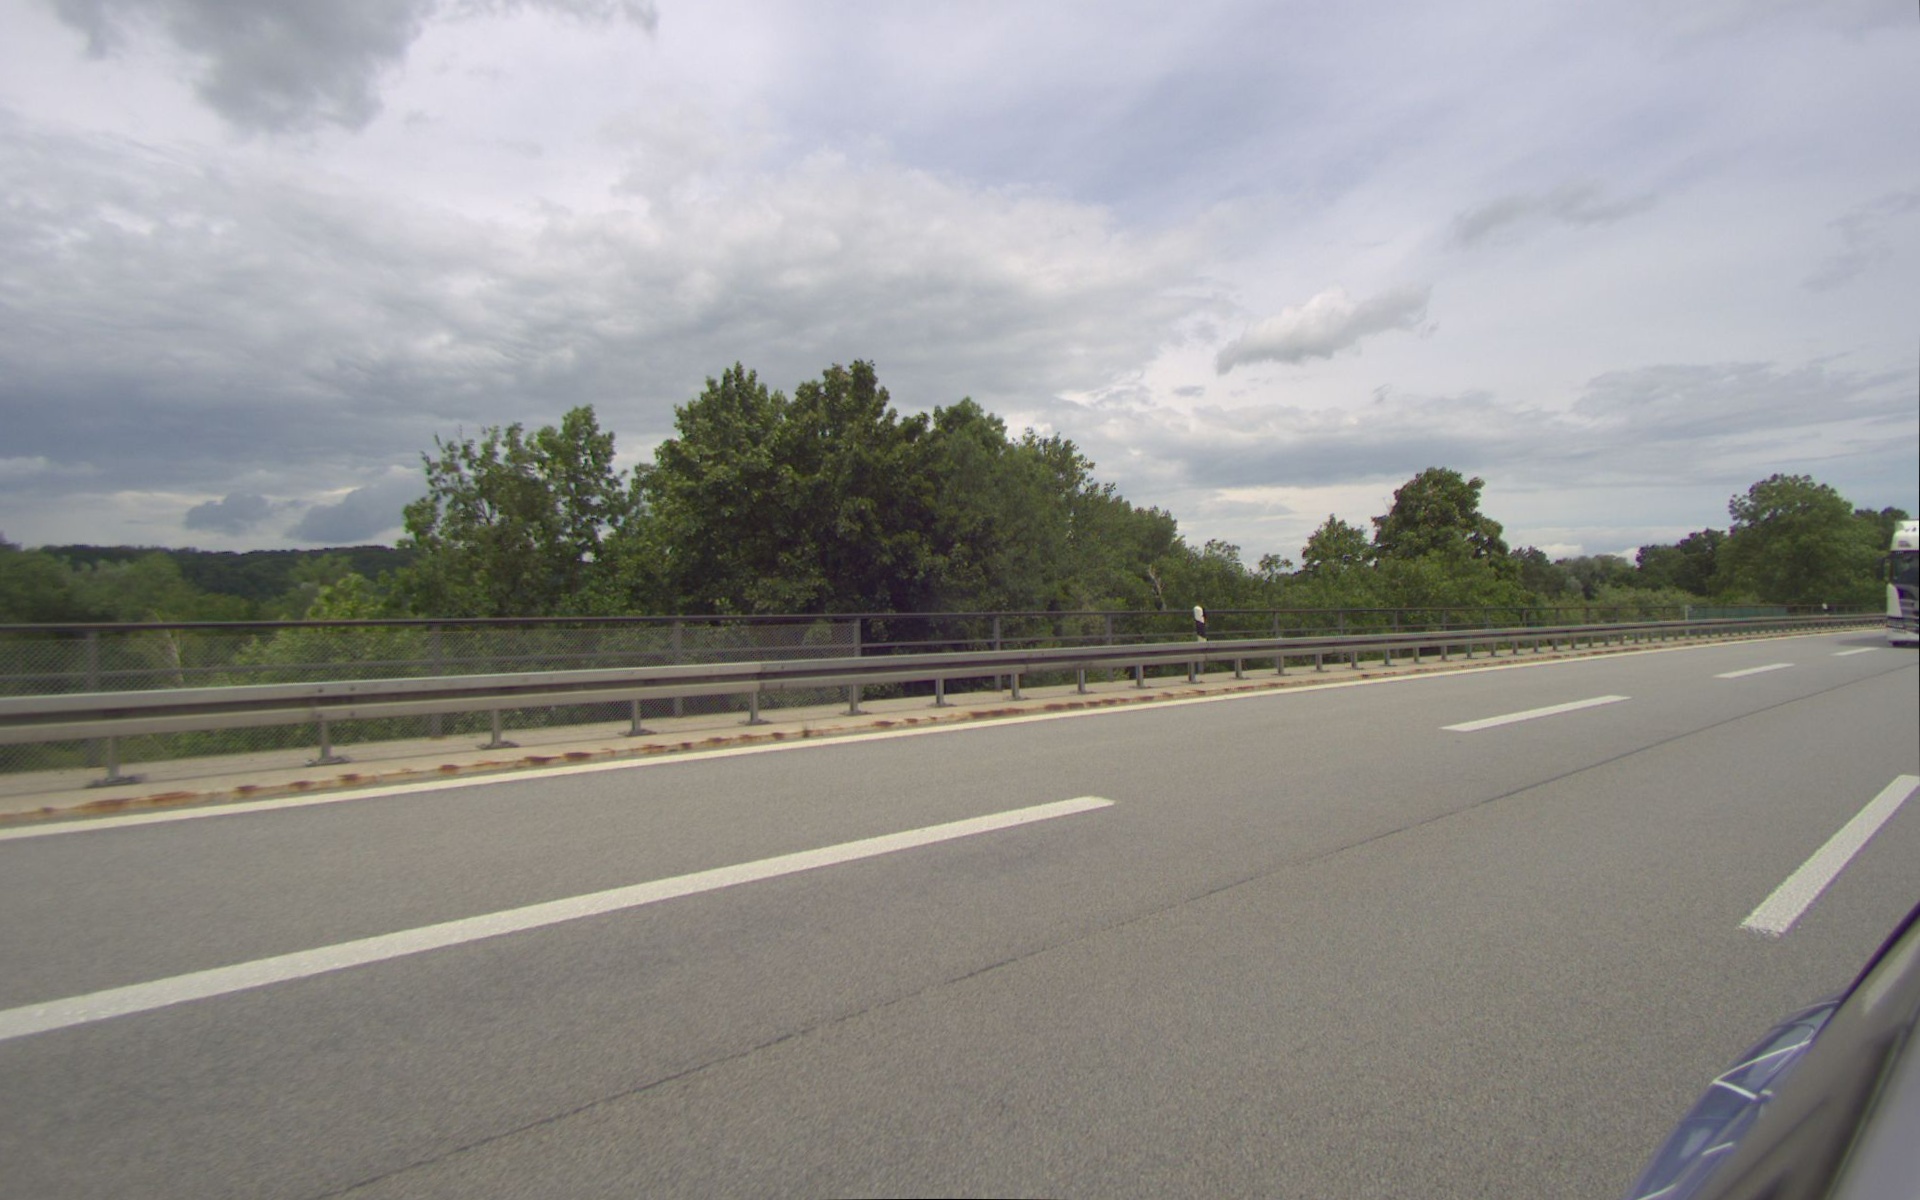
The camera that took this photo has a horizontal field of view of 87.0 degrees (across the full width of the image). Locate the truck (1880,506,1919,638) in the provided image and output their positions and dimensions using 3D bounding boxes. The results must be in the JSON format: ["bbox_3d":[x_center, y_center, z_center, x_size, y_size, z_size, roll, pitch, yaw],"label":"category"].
[{"bbox_3d":[31.176,-0.843,31.493,5.895,3.941,3.067,0,0,-41],"label":"truck"}]

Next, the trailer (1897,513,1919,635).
[{"bbox_3d":[36.575,-0.854,36.180,13.549,3.940,3.067,0,0,-41],"label":"trailer"}]
